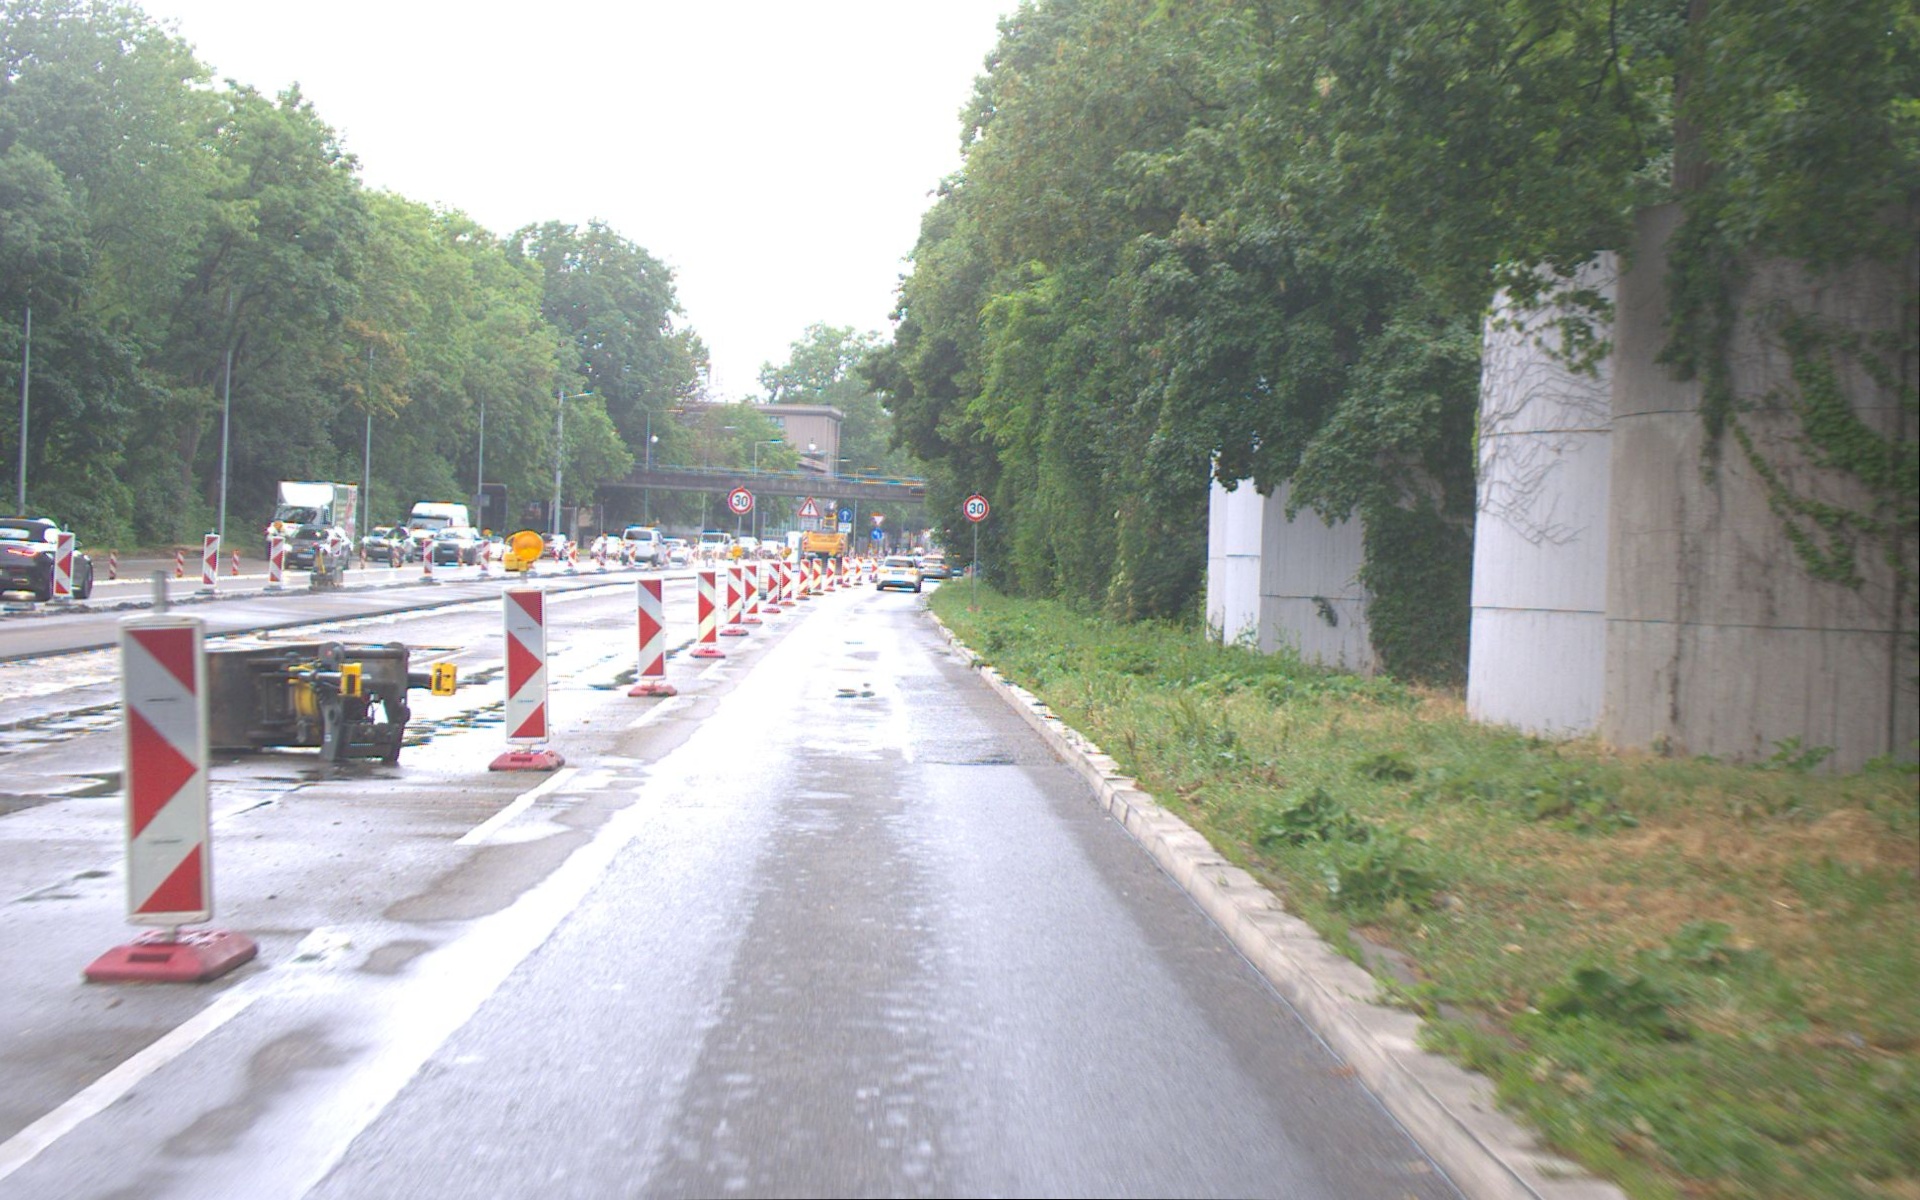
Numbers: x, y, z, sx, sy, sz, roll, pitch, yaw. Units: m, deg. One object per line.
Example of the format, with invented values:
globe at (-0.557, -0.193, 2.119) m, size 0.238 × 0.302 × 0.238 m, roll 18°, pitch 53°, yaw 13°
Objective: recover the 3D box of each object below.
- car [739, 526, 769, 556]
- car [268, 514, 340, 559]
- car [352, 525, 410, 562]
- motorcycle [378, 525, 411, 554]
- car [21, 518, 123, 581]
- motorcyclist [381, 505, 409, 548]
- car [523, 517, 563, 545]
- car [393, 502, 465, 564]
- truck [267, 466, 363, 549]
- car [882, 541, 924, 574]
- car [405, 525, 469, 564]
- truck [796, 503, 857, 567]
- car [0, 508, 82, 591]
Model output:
car at (-13.431, -3.876, 224.374) m, size 1.670 × 1.802 × 4.321 m, roll 2°, pitch 2°, yaw 0°
car at (-21.646, -2.099, 113.544) m, size 1.670 × 1.411 × 4.321 m, roll 2°, pitch 1°, yaw -2°
car at (-24.037, -2.365, 142.845) m, size 1.670 × 1.480 × 4.320 m, roll 2°, pitch 1°, yaw 0°
motorcycle at (-20.922, -2.233, 127.268) m, size 0.828 × 1.011 × 2.367 m, roll 3°, pitch 1°, yaw -2°
car at (-19.559, -1.120, 75.843) m, size 1.447 × 1.328 × 3.861 m, roll 2°, pitch 1°, yaw -4°
motorcyclist at (-20.900, -2.728, 127.243) m, size 0.828 × 1.559 × 0.927 m, roll 3°, pitch 1°, yaw -1°
car at (-23.230, -3.830, 191.706) m, size 1.670 × 1.480 × 4.320 m, roll 2°, pitch 1°, yaw 0°
car at (-23.332, -2.953, 151.272) m, size 2.099 × 2.571 × 6.854 m, roll 2°, pitch 1°, yaw 0°
truck at (-23.912, -3.407, 127.725) m, size 2.246 × 2.930 × 6.935 m, roll 2°, pitch 1°, yaw 0°
car at (-2.357, -1.758, 142.585) m, size 1.697 × 1.331 × 3.491 m, roll 0°, pitch 1°, yaw -1°
car at (-21.651, -2.307, 142.448) m, size 1.959 × 1.526 × 4.437 m, roll 2°, pitch 1°, yaw 0°
truck at (-7.810, -3.846, 202.185) m, size 3.259 × 3.485 × 13.871 m, roll 2°, pitch 1°, yaw -1°
car at (-17.049, -0.932, 61.775) m, size 1.607 × 1.399 × 4.041 m, roll 2°, pitch 1°, yaw -2°
